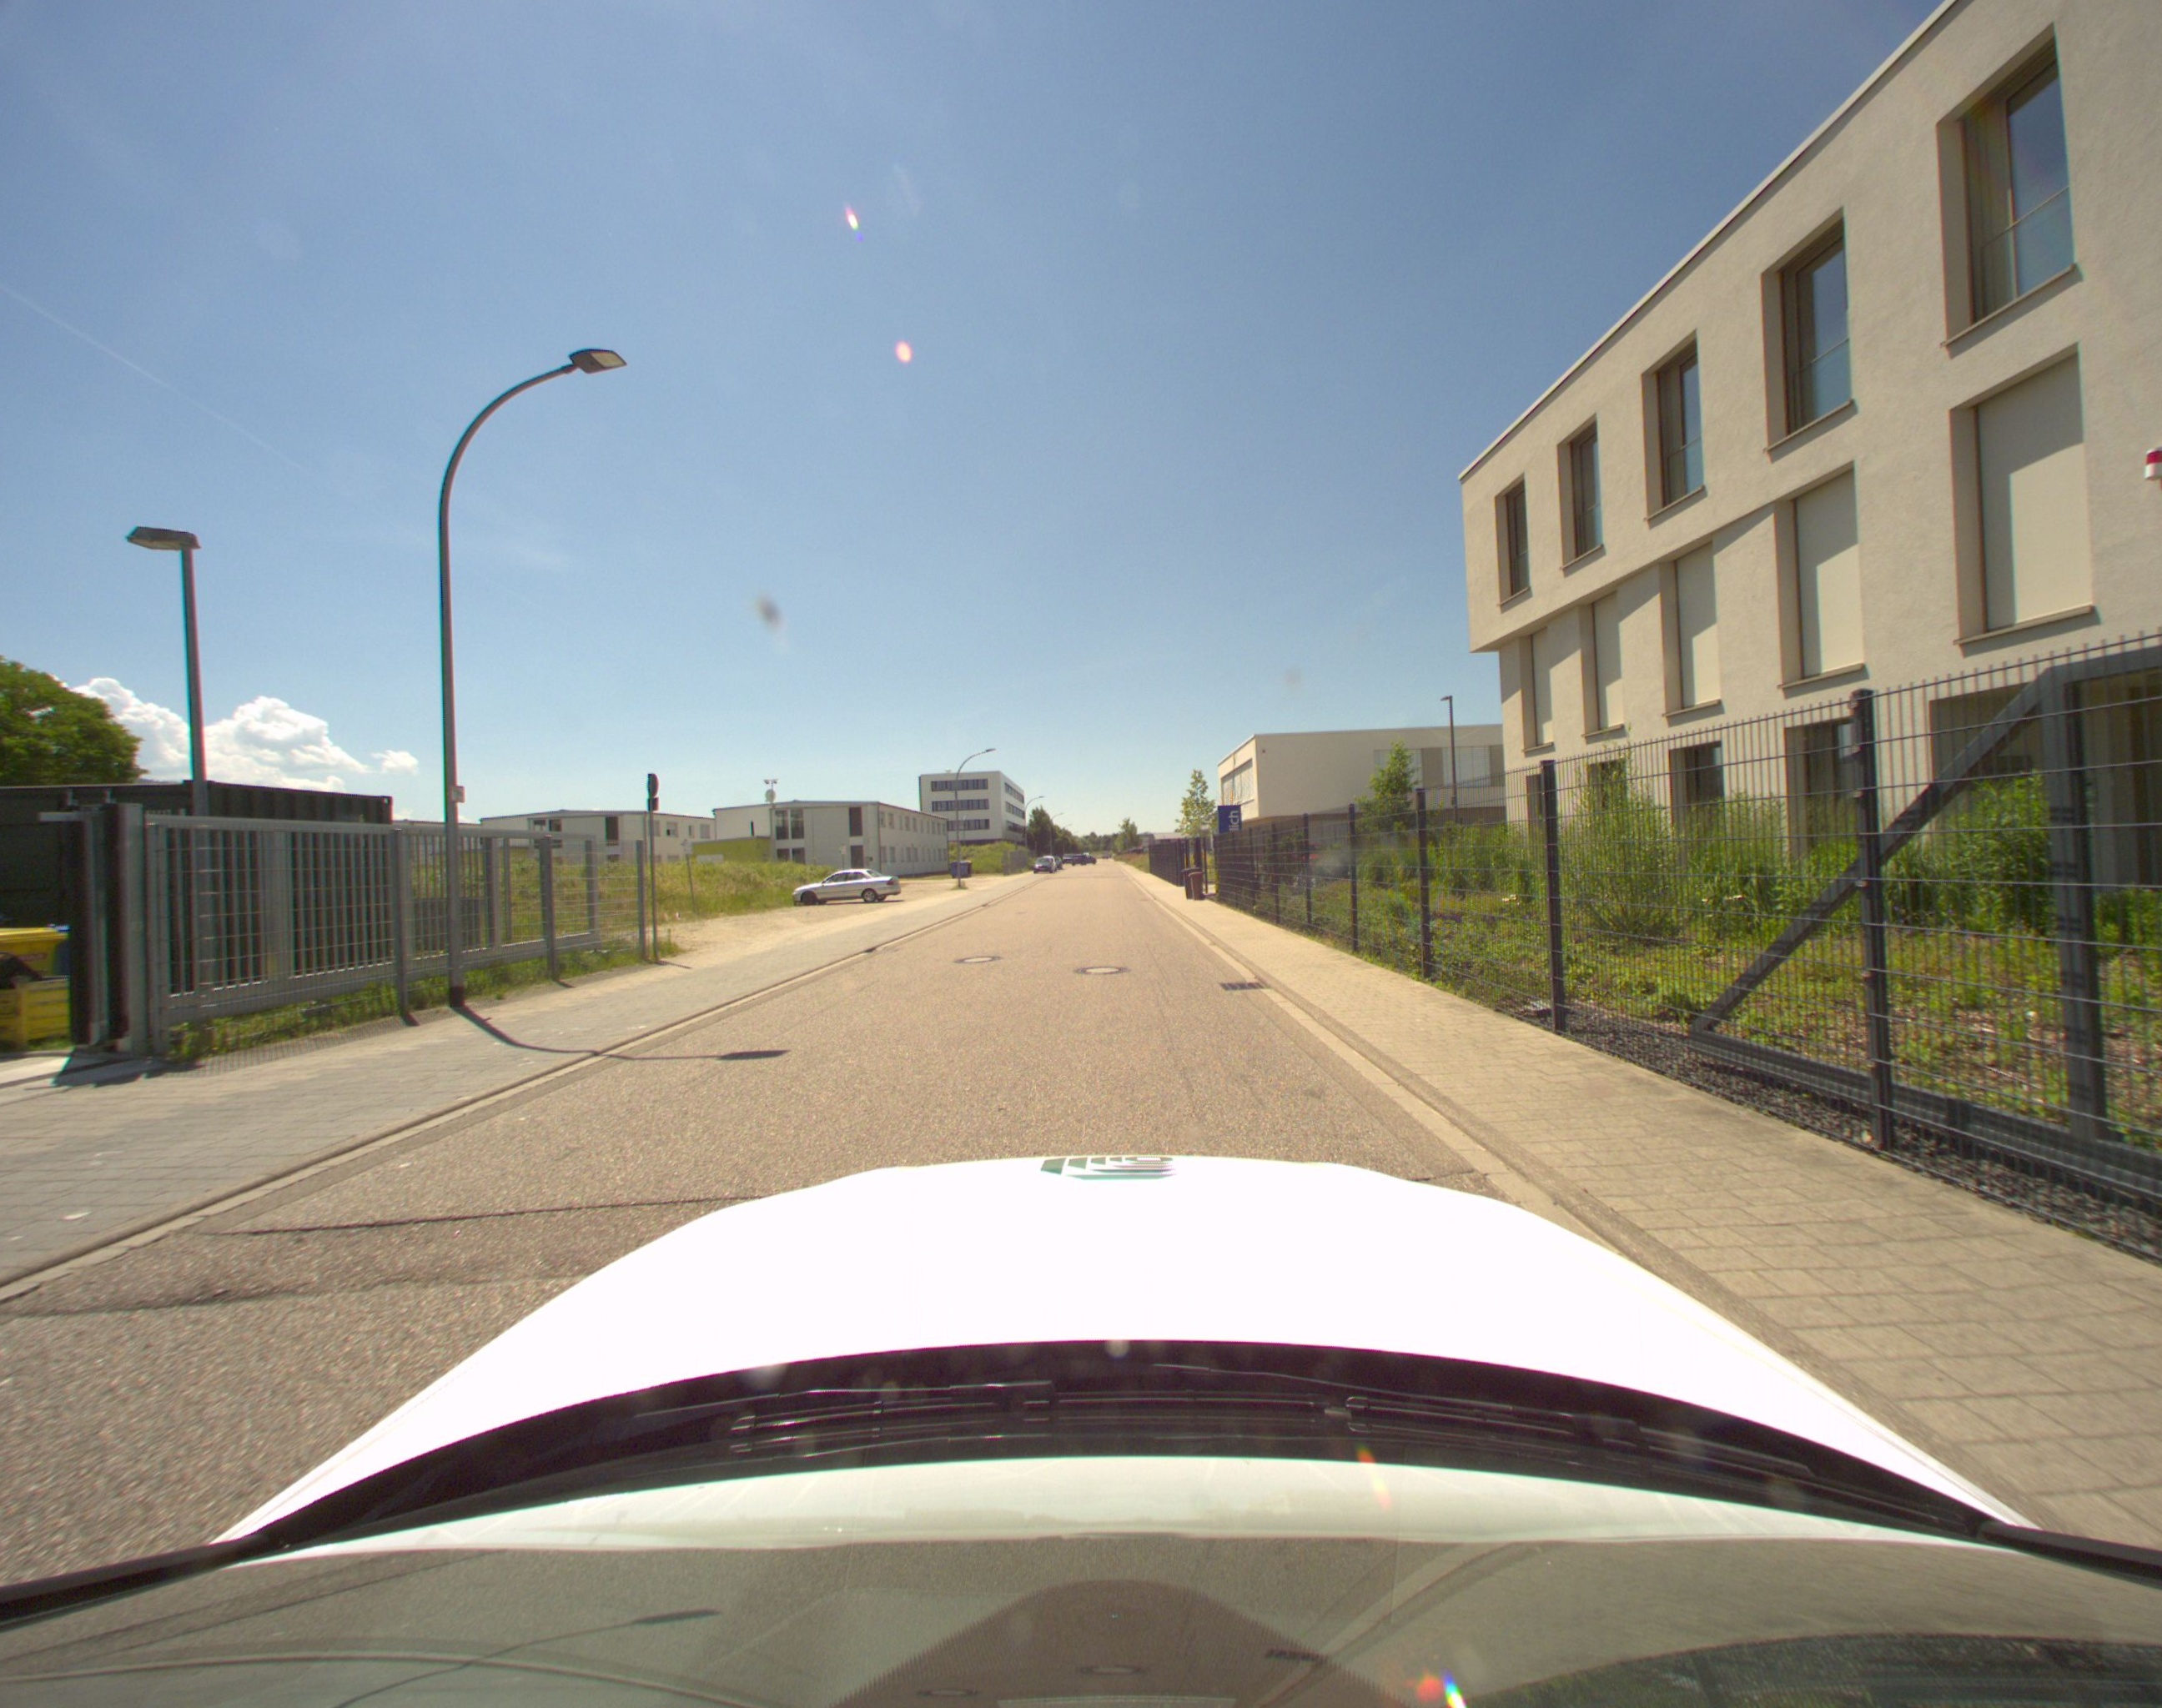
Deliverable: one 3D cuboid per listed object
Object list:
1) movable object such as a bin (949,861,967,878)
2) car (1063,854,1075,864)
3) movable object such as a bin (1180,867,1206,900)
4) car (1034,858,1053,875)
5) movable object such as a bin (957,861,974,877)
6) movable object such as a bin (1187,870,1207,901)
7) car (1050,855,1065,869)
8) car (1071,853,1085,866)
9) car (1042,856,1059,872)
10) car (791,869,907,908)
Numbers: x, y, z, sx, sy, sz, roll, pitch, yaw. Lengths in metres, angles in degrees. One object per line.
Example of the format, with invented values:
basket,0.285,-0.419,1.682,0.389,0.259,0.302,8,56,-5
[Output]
movable object such as a bin,-10.482,1.310,69.251,1.282,1.412,1.805,-2,0,-2
car,-1.873,0.837,130.382,1.638,1.489,3.208,-2,0,2
movable object such as a bin,3.904,1.027,28.408,0.775,1.019,0.666,-7,0,5
car,-3.432,1.136,75.230,1.461,1.489,3.208,-2,0,2
movable object such as a bin,-10.295,1.333,72.840,1.282,1.412,1.805,-2,0,-2
movable object such as a bin,3.898,1.056,27.423,0.549,0.928,0.522,-7,0,5
car,-2.596,0.849,91.451,1.461,1.489,3.208,-2,0,2
car,-0.430,0.789,113.996,1.819,1.642,3.208,-2,0,2
car,-3.039,1.014,82.343,1.461,1.489,3.208,-2,0,2
car,-9.693,1.419,34.249,4.262,1.364,1.898,-3,0,1
